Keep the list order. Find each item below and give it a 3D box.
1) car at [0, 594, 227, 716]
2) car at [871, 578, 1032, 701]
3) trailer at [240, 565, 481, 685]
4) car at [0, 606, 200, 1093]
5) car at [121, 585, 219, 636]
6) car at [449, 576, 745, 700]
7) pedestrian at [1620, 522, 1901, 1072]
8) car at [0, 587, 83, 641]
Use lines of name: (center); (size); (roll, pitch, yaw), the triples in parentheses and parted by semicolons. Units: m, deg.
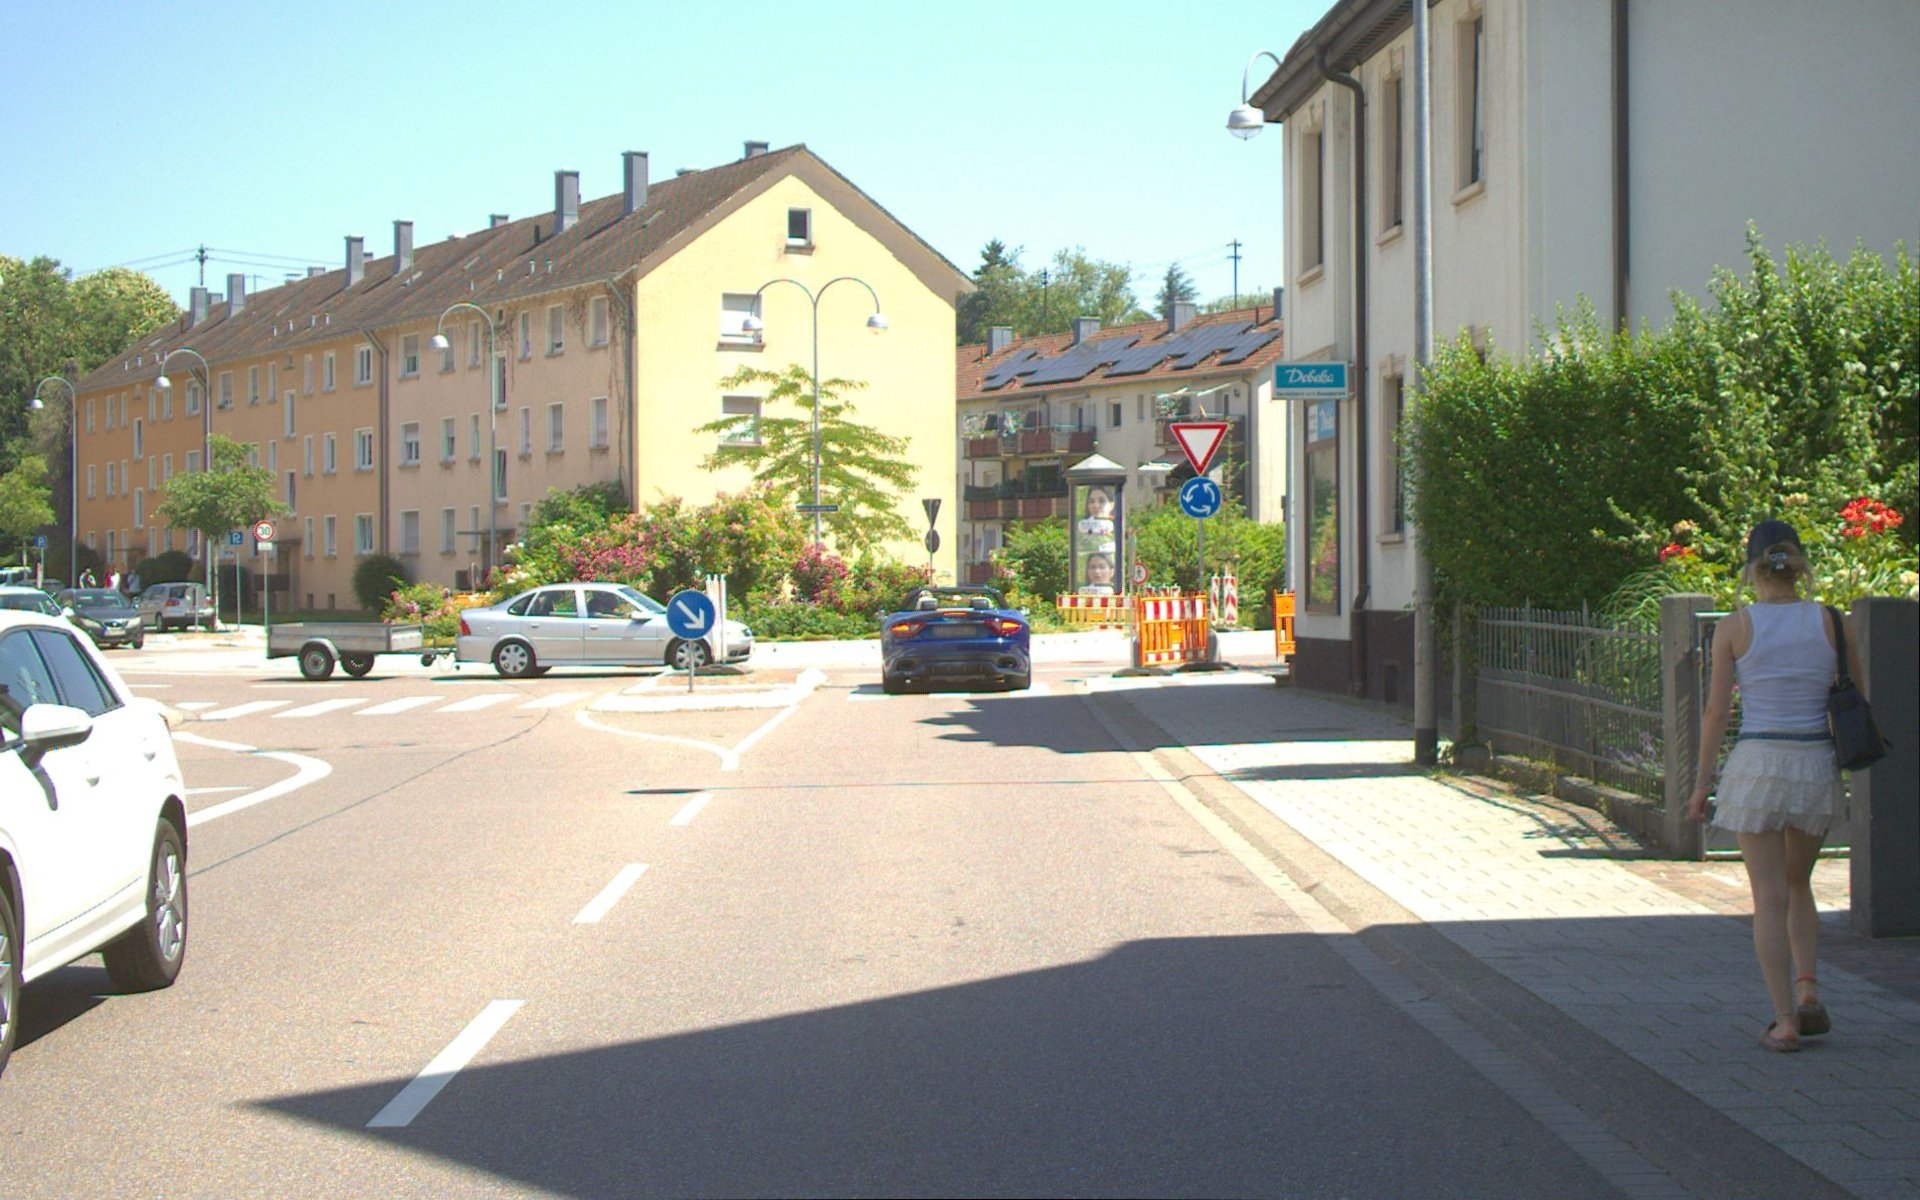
car: (-14.586, 0.909, 56.777); (4.381, 1.524, 1.843); (-8, 4, -40)
car: (-0.168, 0.546, 44.847); (1.870, 1.525, 4.507); (0, -1, -3)
trailer: (-9.099, 0.377, 52.313); (3.188, 1.711, 1.756); (1, -1, 7)
car: (-3.945, 0.809, 11.924); (1.820, 1.525, 3.950); (0, -1, -1)
car: (-24.146, 0.313, 104.965); (1.812, 1.495, 4.000); (2, -1, -29)
car: (-5.448, 0.564, 51.870); (4.116, 1.741, 1.787); (1, -1, 7)
pedestrian: (2.478, 0.590, 10.700); (0.623, 1.638, 0.772); (-1, 0, -4)
car: (-31.981, 0.487, 119.569); (1.812, 1.788, 4.000); (2, -1, -29)
